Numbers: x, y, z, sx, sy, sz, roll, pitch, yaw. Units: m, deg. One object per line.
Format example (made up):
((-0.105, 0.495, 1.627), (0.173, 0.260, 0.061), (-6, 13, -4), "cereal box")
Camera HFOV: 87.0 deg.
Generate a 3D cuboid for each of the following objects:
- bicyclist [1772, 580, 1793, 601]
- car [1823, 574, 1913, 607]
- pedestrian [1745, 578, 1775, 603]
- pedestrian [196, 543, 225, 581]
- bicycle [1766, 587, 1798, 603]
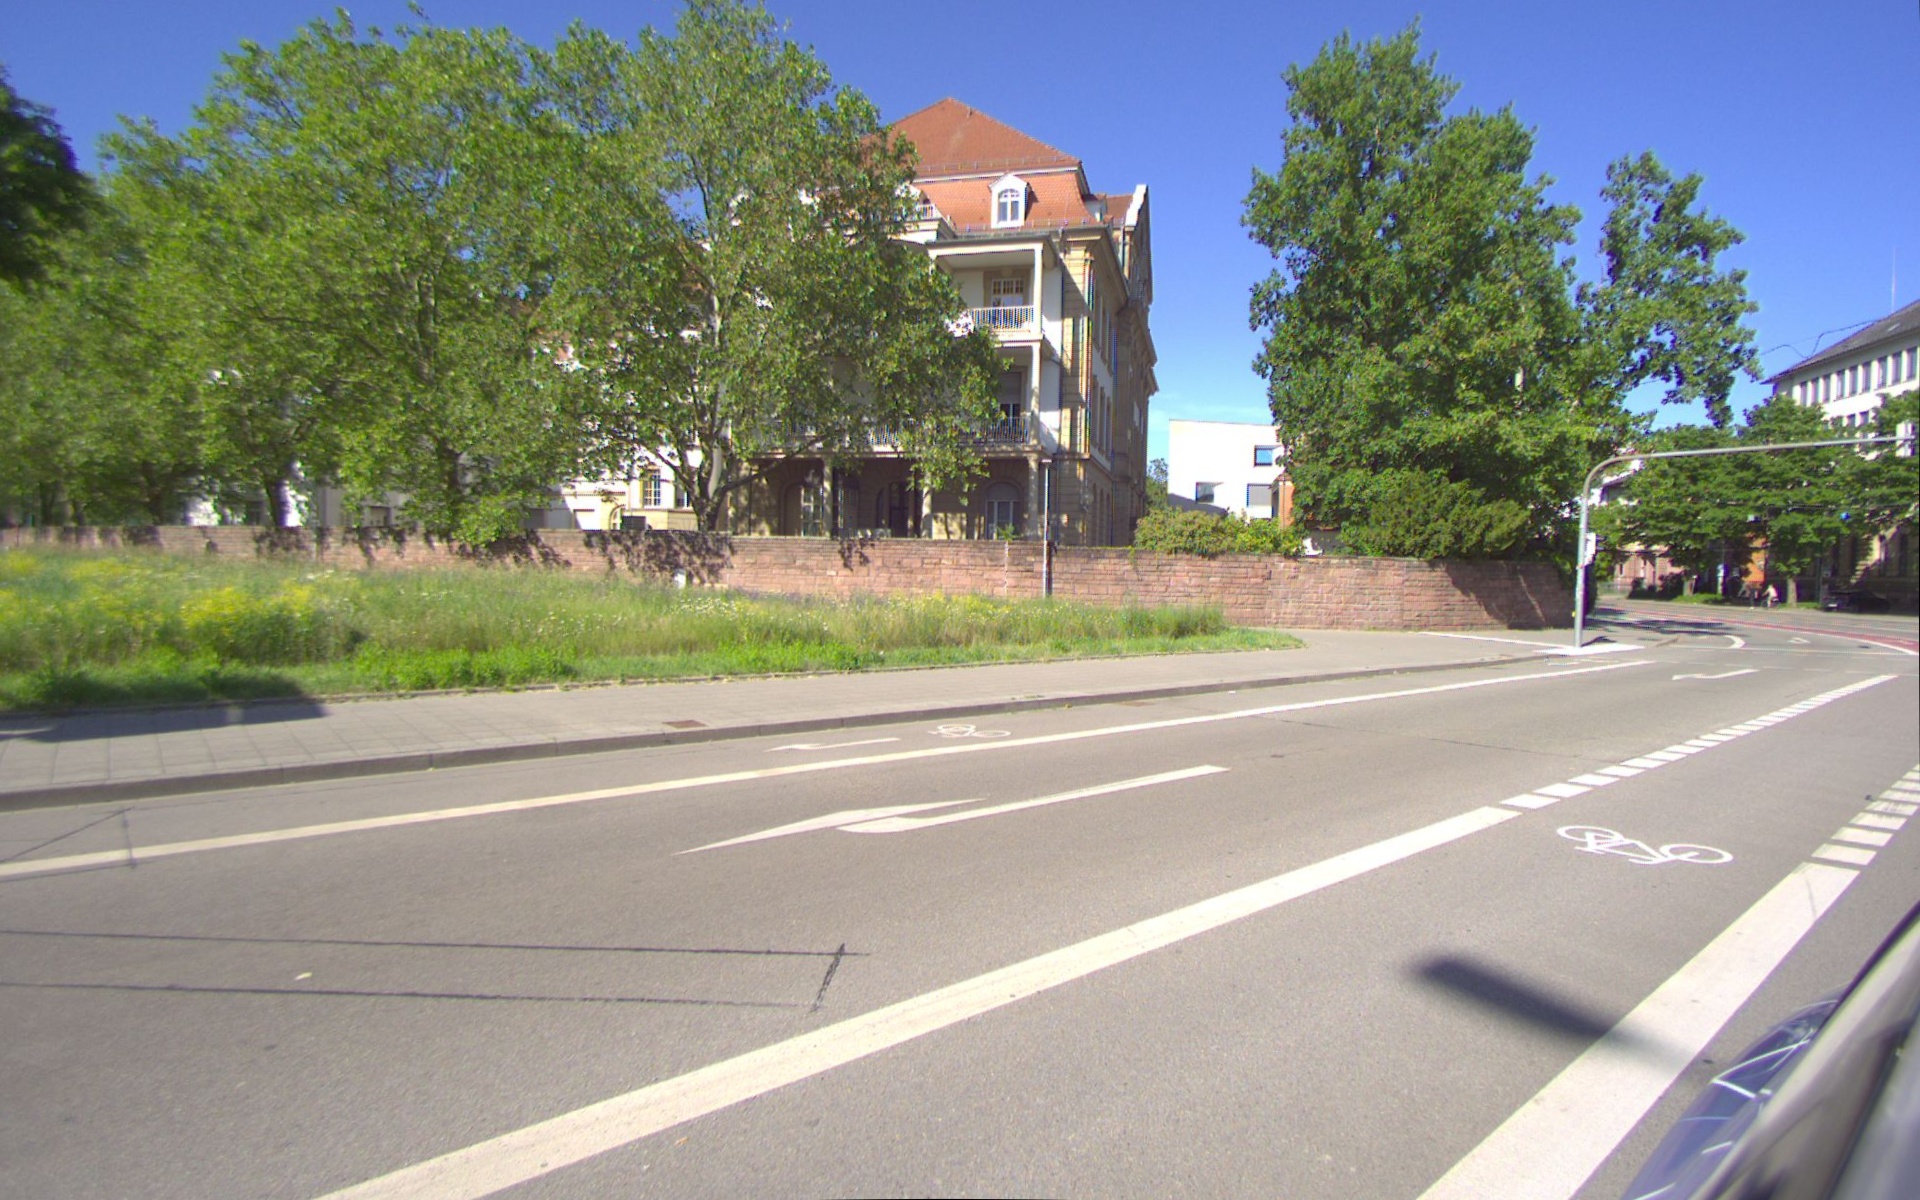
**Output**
((56.864, -0.679, 69.981), (0.720, 1.402, 0.895), (1, 1, 3), "bicyclist")
((61.204, -0.644, 68.249), (4.615, 2.038, 2.004), (1, 2, -9), "car")
((59.659, -0.698, 75.474), (1.366, 1.844, 0.937), (1, 1, 4), "pedestrian")
((-29.049, -1.472, 39.228), (0.516, 1.461, 0.721), (0, 0, 20), "pedestrian")
((56.854, -0.365, 69.999), (0.720, 1.003, 1.834), (1, 2, 3), "bicycle")
